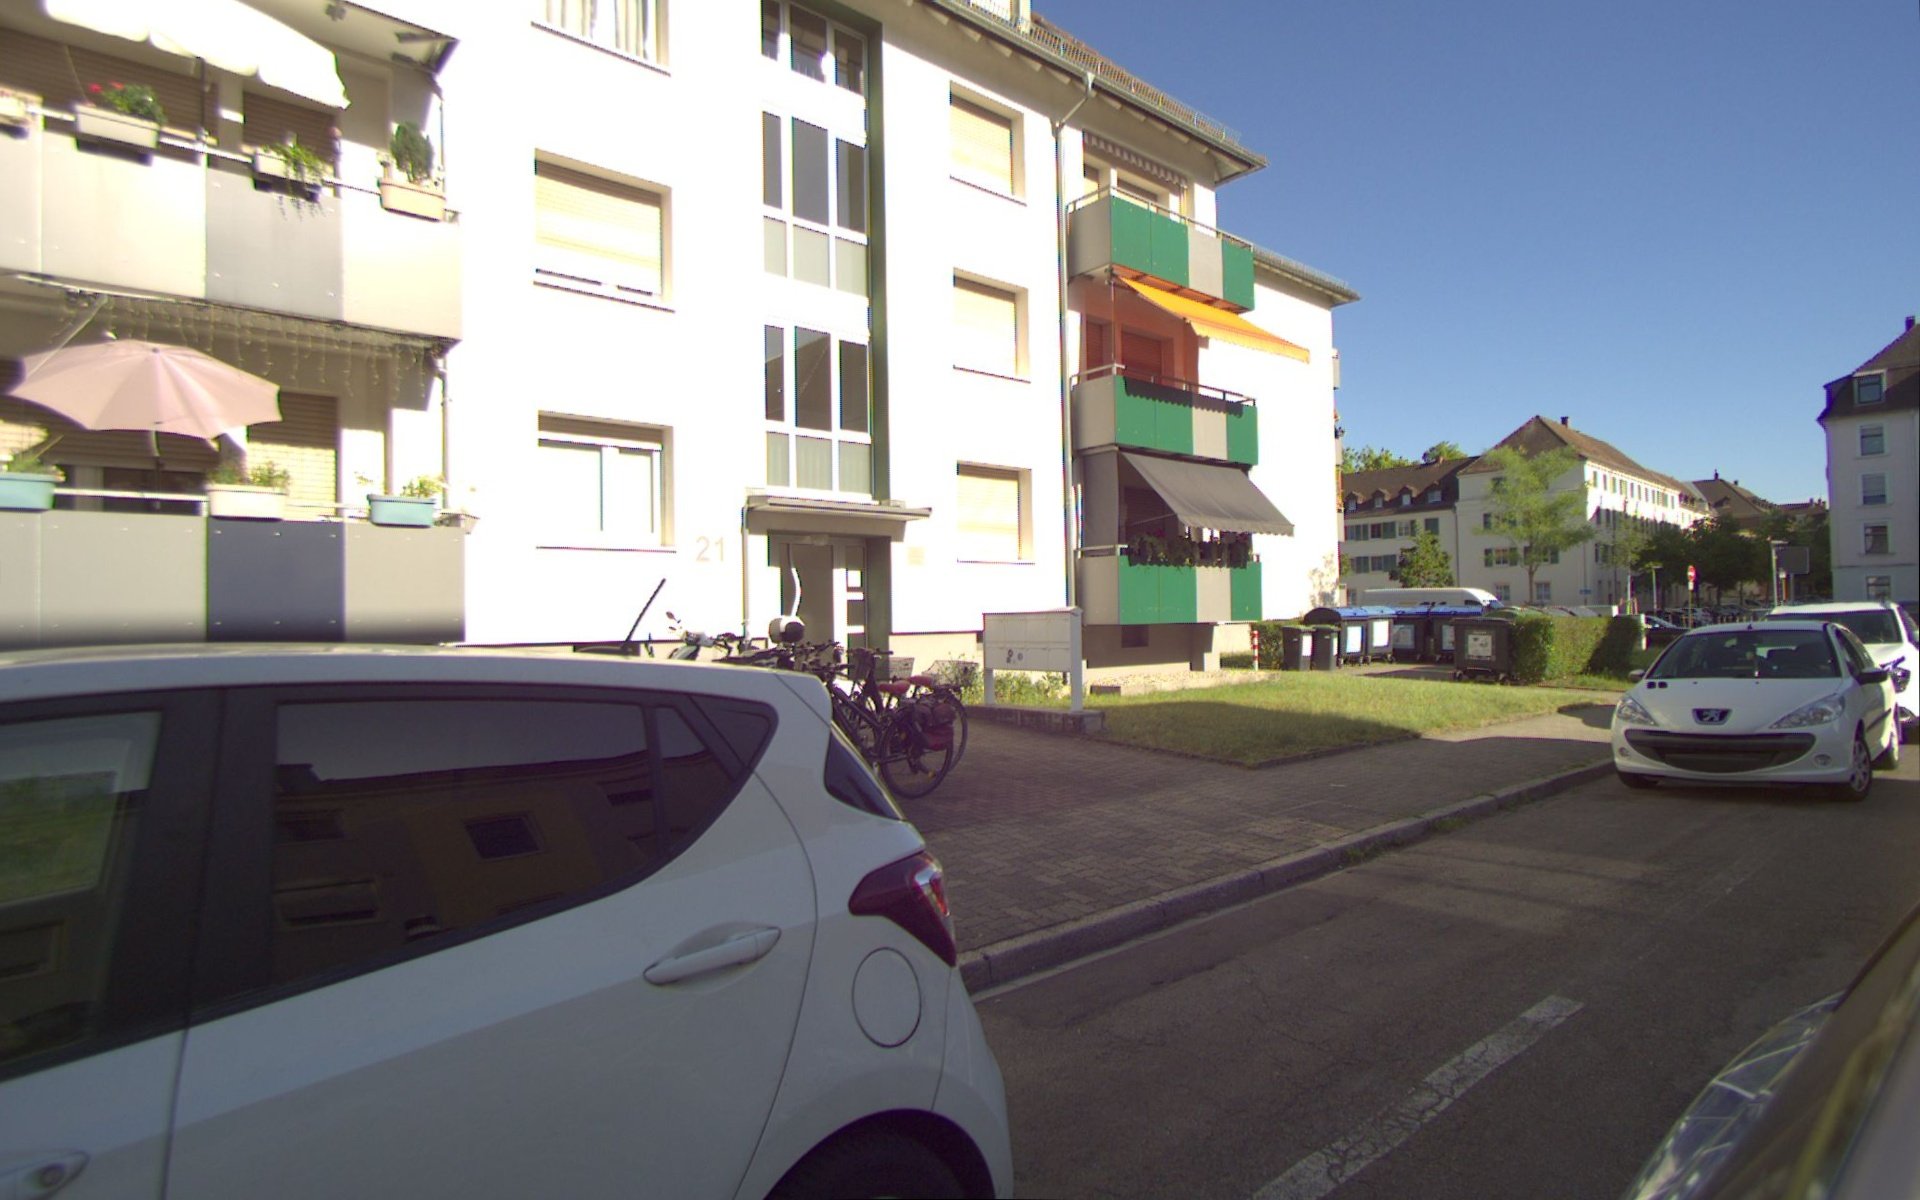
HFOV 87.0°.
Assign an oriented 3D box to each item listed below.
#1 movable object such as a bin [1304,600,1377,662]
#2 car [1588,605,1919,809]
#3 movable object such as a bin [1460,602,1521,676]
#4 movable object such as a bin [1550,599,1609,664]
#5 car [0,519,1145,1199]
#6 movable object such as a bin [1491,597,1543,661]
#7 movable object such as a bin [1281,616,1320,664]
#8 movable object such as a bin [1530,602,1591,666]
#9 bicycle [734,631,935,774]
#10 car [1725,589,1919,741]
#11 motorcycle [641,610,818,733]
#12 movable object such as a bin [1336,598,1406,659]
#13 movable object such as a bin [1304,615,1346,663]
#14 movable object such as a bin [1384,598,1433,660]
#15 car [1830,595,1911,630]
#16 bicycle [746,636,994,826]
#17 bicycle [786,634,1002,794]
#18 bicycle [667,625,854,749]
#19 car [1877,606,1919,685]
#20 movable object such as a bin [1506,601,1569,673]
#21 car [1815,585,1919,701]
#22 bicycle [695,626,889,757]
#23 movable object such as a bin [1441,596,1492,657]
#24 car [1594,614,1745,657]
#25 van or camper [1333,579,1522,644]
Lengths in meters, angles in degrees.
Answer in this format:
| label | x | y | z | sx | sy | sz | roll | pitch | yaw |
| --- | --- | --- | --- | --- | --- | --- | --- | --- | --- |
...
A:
| label | x | y | z | sx | sy | sz | roll | pitch | yaw |
| --- | --- | --- | --- | --- | --- | --- | --- | --- | --- |
| movable object such as a bin | 9.272 | 0.732 | 24.654 | 1.257 | 1.466 | 1.237 | 0 | -1 | -43 |
| car | 7.380 | 0.817 | 9.219 | 4.027 | 1.437 | 1.692 | 0 | -3 | -42 |
| movable object such as a bin | 10.795 | 0.770 | 20.580 | 0.907 | 1.466 | 0.864 | 0 | -1 | -45 |
| movable object such as a bin | 13.941 | 0.687 | 22.765 | 0.852 | 1.416 | 0.920 | 1 | -1 | -42 |
| car | -1.605 | 0.739 | 1.544 | 3.787 | 1.529 | 1.715 | 0 | -4 | -42 |
| movable object such as a bin | 13.192 | 0.666 | 23.957 | 0.907 | 1.466 | 0.864 | 0 | -1 | -45 |
| movable object such as a bin | 7.896 | 0.916 | 23.449 | 0.570 | 1.066 | 0.627 | 1 | 2 | -43 |
| movable object such as a bin | 13.033 | 0.715 | 21.972 | 0.852 | 1.342 | 0.920 | 0 | -1 | -42 |
| bicycle | -1.101 | 0.881 | 9.240 | 1.840 | 1.134 | 0.544 | 0 | 0 | -42 |
| car | 11.366 | 0.723 | 12.814 | 4.502 | 1.613 | 1.802 | 0 | -3 | -42 |
| motorcycle | -2.520 | 0.748 | 11.247 | 1.942 | 1.254 | 0.442 | 0 | 0 | -41 |
| movable object such as a bin | 10.361 | 0.697 | 25.511 | 1.257 | 1.466 | 1.237 | 0 | -1 | -43 |
| movable object such as a bin | 8.566 | 0.914 | 23.743 | 0.570 | 1.066 | 0.717 | 1 | 2 | -43 |
| movable object such as a bin | 11.496 | 0.720 | 25.926 | 0.906 | 1.539 | 0.865 | 0 | -1 | -42 |
| car | 40.353 | 0.538 | 44.964 | 1.656 | 1.459 | 3.767 | 0 | 0 | 26 |
| bicycle | -0.618 | 0.894 | 7.479 | 1.839 | 1.185 | 0.545 | 0 | 0 | -40 |
| bicycle | -0.511 | 0.893 | 8.489 | 1.840 | 1.147 | 0.578 | 0 | 0 | -42 |
| bicycle | -2.008 | 0.837 | 10.366 | 1.840 | 1.130 | 0.597 | 0 | -1 | -42 |
| car | 20.591 | 0.890 | 21.129 | 3.885 | 1.557 | 1.725 | 0 | -4 | -43 |
| movable object such as a bin | 12.090 | 0.757 | 21.194 | 0.852 | 1.466 | 0.920 | 1 | -1 | -42 |
| car | 16.438 | 0.695 | 17.490 | 4.180 | 1.824 | 1.852 | 0 | -5 | -42 |
| bicycle | -1.583 | 0.833 | 9.771 | 1.840 | 1.096 | 0.539 | 0 | 1 | -42 |
| movable object such as a bin | 12.365 | 0.627 | 24.708 | 0.907 | 1.466 | 0.864 | 0 | -1 | -45 |
| car | 24.740 | 1.187 | 35.392 | 1.769 | 1.366 | 3.996 | 0 | 0 | -39 |
| van or camper | 19.397 | 0.446 | 42.419 | 2.137 | 2.532 | 6.979 | 0 | 0 | -39 |
